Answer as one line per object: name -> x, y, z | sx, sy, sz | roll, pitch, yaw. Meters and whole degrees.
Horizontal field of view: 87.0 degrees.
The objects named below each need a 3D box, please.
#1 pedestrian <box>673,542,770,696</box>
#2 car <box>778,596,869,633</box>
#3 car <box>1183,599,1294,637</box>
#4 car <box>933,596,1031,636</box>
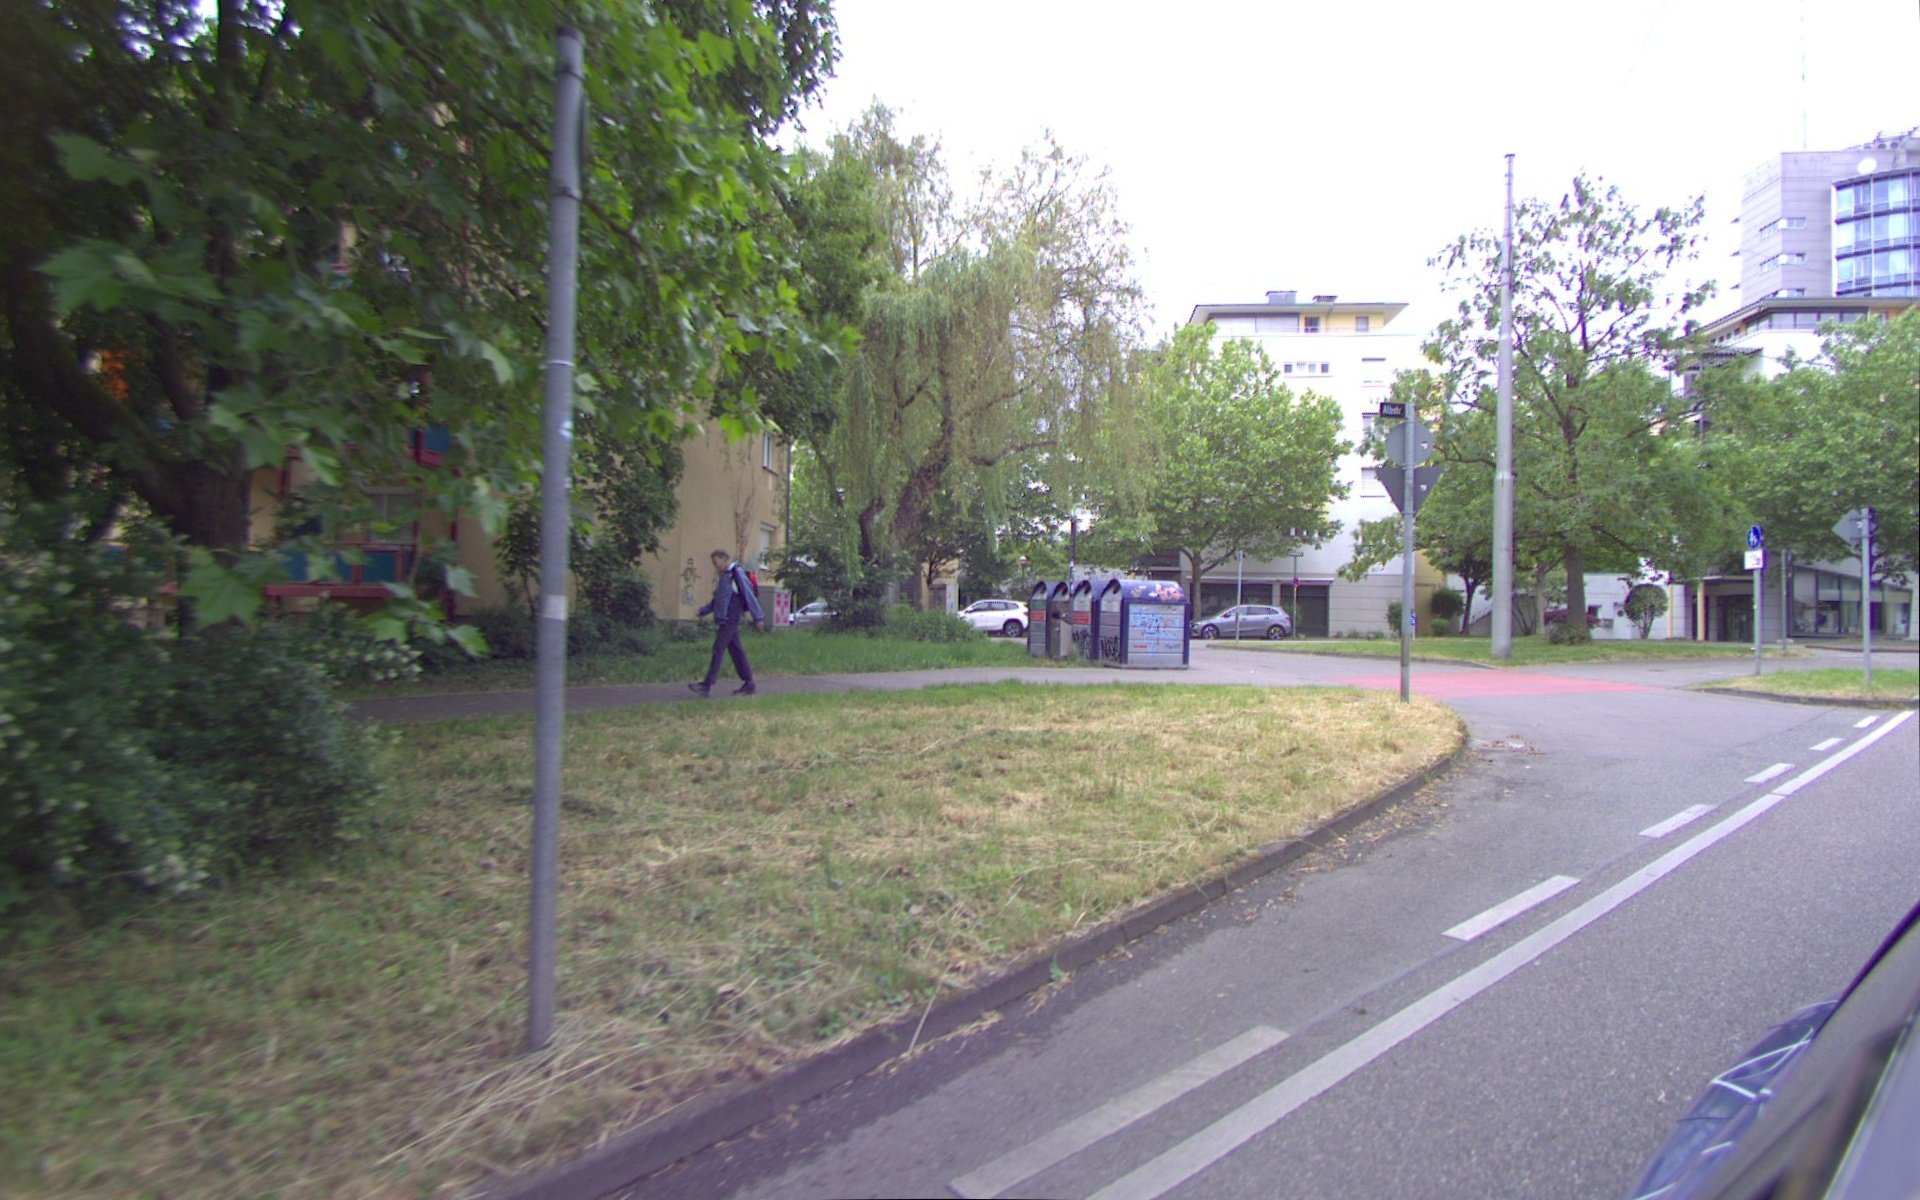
pedestrian -> -2.947, 0.232, 12.529 | 0.755, 1.818, 0.883 | 0, -1, 40
car -> -5.970, 0.617, 44.518 | 3.659, 1.529, 1.796 | 0, 0, 7
car -> 11.545, 0.723, 42.125 | 4.167, 1.529, 1.798 | 0, -1, 4
car -> 0.979, 0.648, 43.097 | 4.092, 1.632, 1.798 | 0, 0, 5
